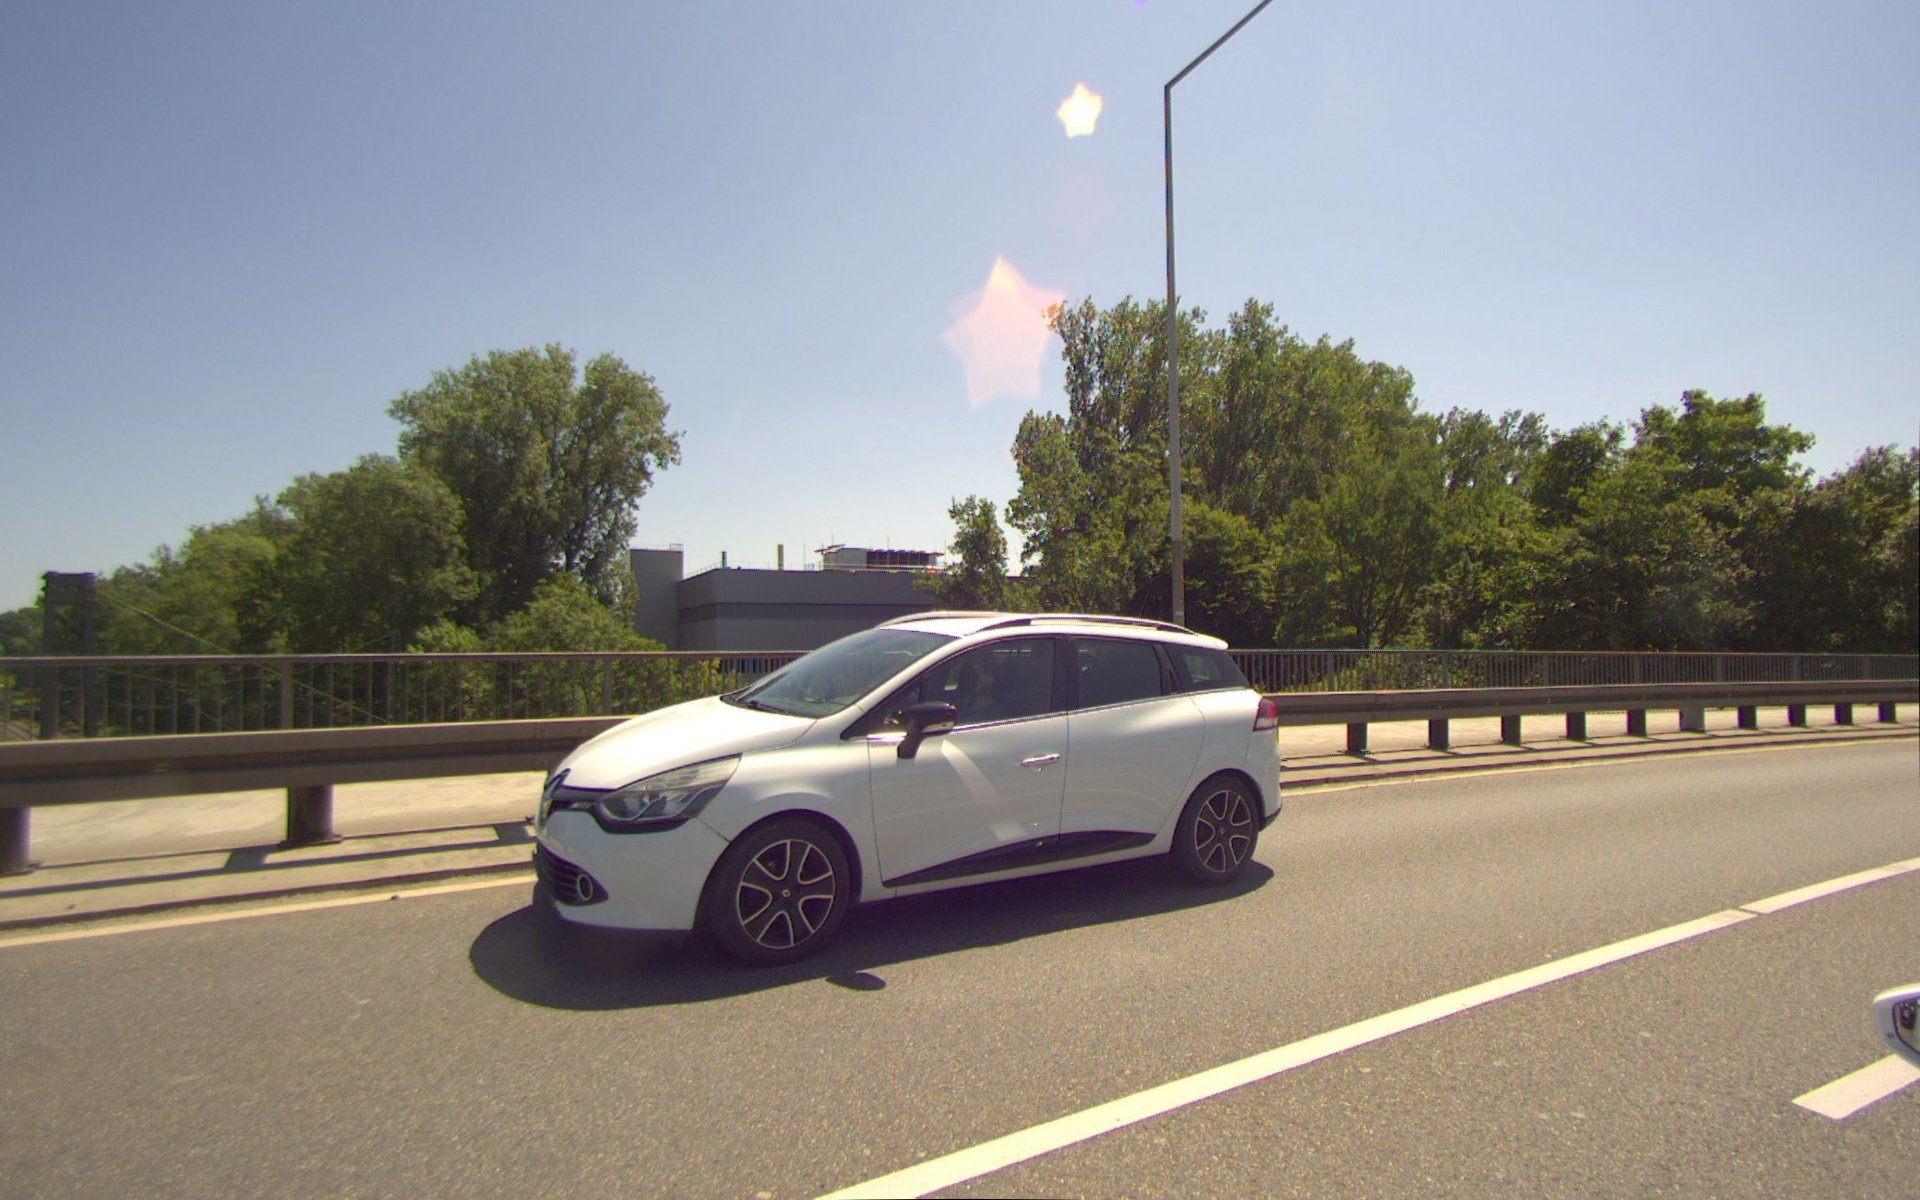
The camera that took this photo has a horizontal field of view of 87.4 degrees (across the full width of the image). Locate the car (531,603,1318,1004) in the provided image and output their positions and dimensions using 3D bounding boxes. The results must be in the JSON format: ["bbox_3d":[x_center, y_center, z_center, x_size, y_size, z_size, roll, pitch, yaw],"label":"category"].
[{"bbox_3d":[-0.032,0.800,5.442,4.011,1.468,1.590,2,-1,-32],"label":"car"}]
